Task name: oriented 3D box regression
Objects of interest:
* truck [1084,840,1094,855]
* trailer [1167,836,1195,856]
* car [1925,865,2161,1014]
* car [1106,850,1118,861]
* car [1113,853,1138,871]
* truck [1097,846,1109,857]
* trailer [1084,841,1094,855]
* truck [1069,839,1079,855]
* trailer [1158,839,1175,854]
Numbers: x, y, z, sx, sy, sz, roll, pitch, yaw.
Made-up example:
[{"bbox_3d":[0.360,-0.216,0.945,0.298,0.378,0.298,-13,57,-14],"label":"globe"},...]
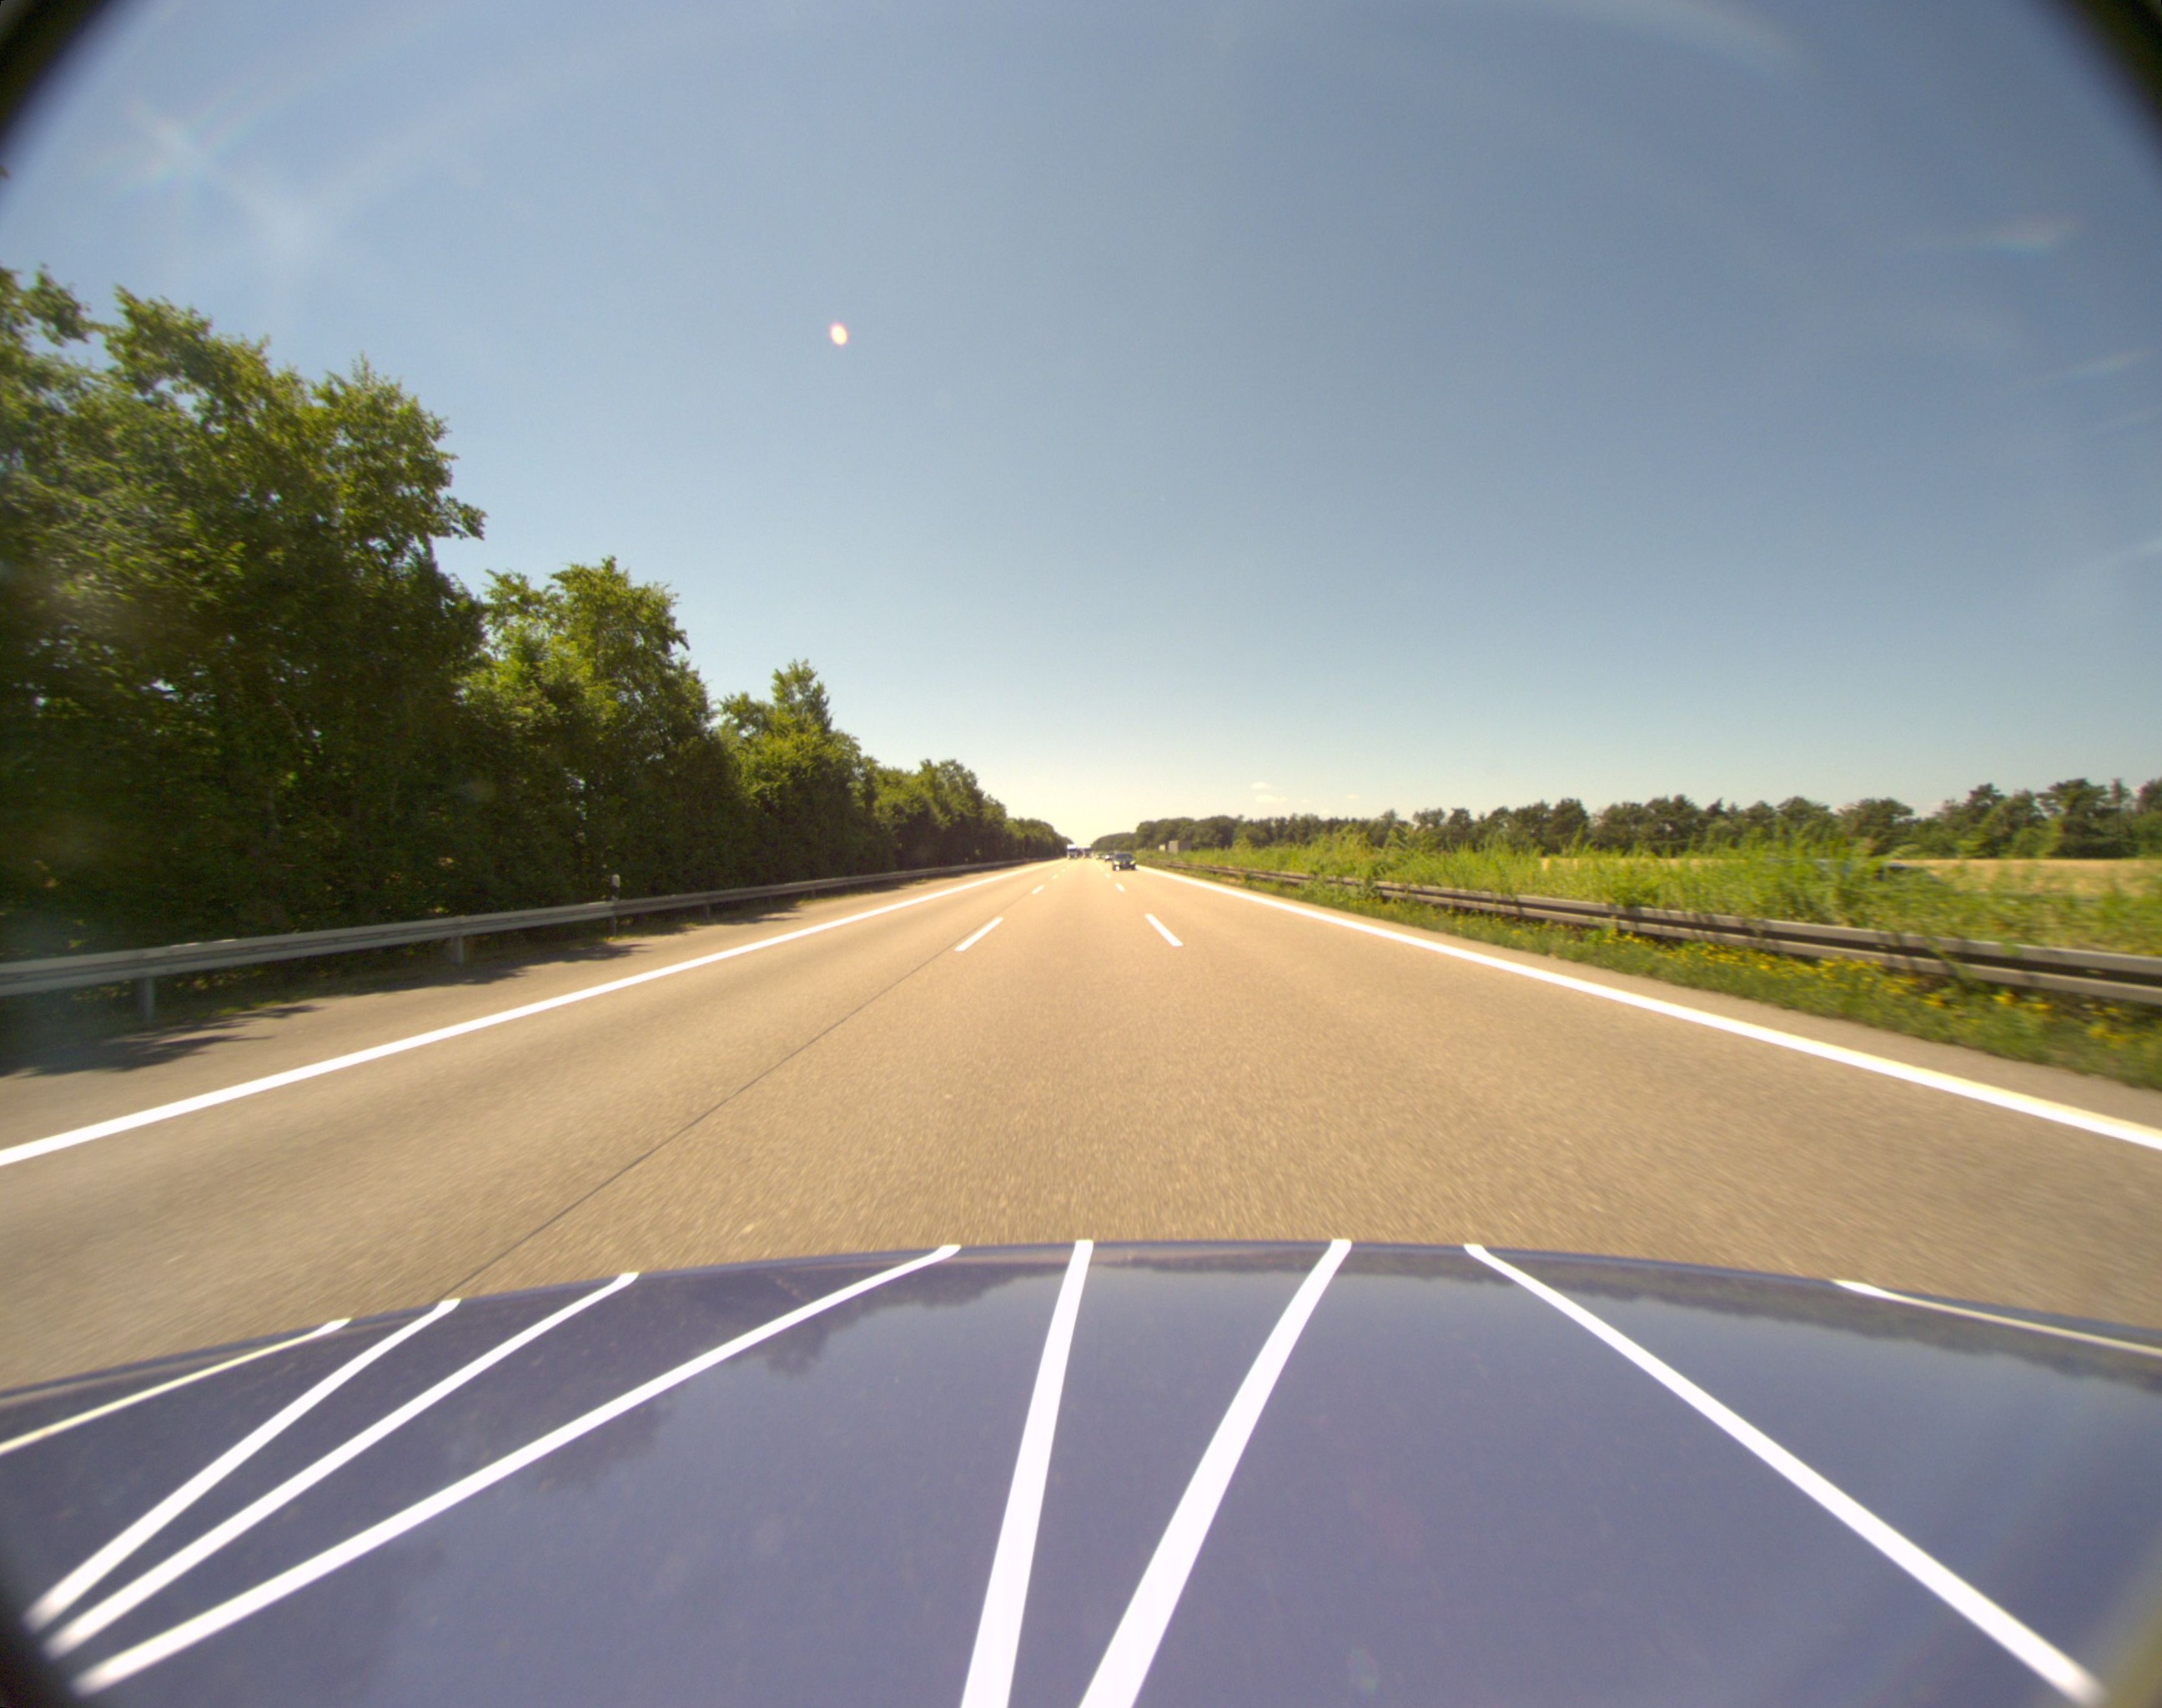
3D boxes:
[{"bbox_3d":[2.561,-1.981,234.739,2.863,4.247,5.411,-2,0,0],"label":"truck"},{"bbox_3d":[19.801,-1.601,151.762,3.358,3.677,14.380,-2,0,-1],"label":"trailer"},{"bbox_3d":[12.342,0.926,8.300,1.814,1.532,4.000,0,0,1],"label":"car"},{"bbox_3d":[4.931,0.227,122.198,1.806,1.774,4.000,-1,1,1],"label":"car"},{"bbox_3d":[3.677,0.657,63.158,1.811,1.399,3.999,-2,0,-1],"label":"car"},{"bbox_3d":[5.060,-0.608,177.853,2.576,2.461,5.614,-2,0,0],"label":"truck"},{"bbox_3d":[2.591,-2.001,241.194,2.863,4.247,11.471,-2,0,0],"label":"trailer"},{"bbox_3d":[-1.969,-1.951,214.043,2.863,4.247,6.863,-2,0,-1],"label":"truck"},{"bbox_3d":[22.700,-1.930,202.829,3.117,3.677,14.382,-2,0,1],"label":"trailer"}]
